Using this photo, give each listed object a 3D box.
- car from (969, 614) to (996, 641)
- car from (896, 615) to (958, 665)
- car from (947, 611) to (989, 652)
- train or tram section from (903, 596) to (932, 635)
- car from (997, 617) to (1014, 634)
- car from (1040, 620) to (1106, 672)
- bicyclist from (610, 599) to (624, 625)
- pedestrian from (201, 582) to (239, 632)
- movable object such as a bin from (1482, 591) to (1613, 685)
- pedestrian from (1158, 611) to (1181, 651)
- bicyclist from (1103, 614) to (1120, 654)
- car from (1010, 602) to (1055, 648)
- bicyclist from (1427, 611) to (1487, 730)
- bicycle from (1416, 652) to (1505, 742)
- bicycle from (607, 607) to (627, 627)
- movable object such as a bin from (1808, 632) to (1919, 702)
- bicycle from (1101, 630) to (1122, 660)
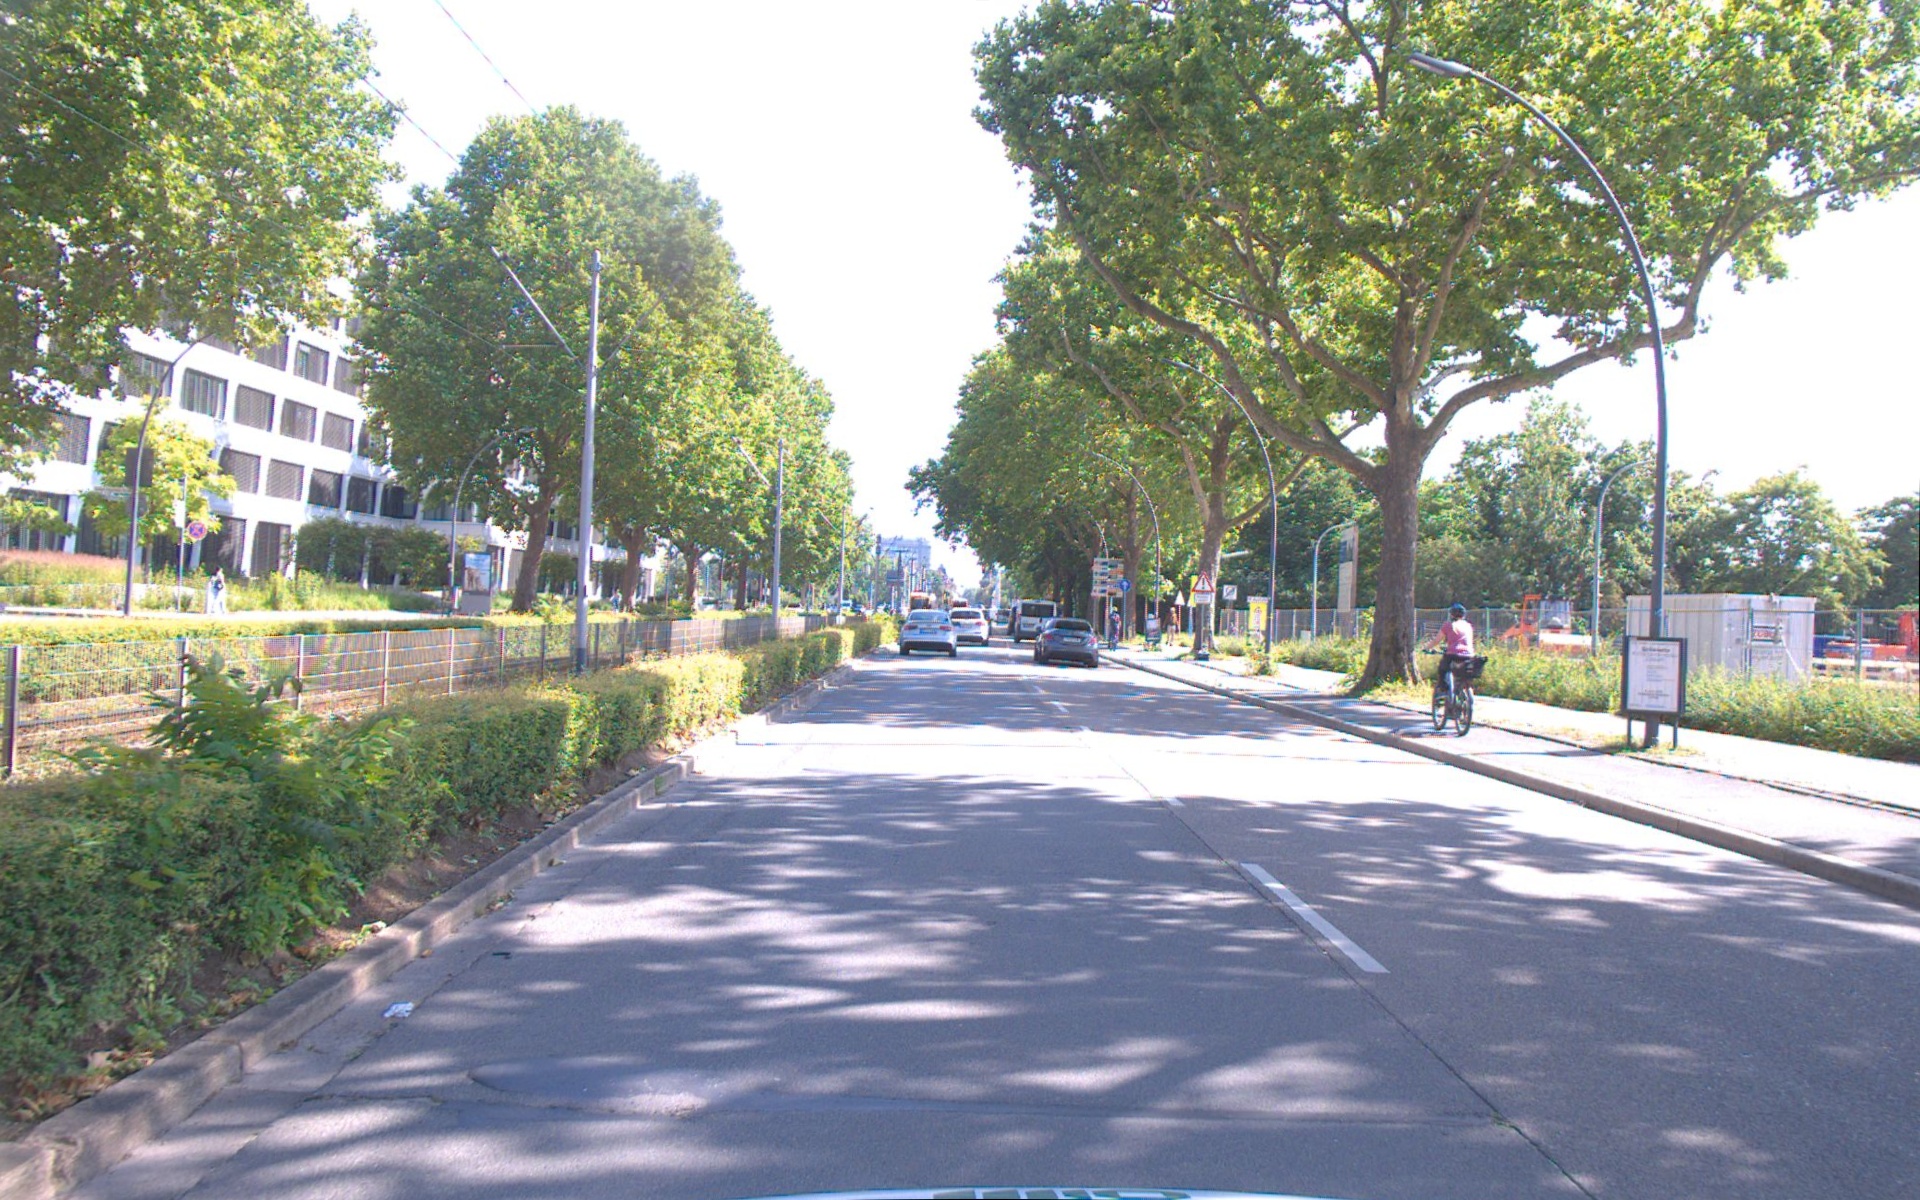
[{"bbox_3d":[1.489,1.791,107.738,1.694,1.633,3.885,3,-1,1],"label":"car"},{"bbox_3d":[-1.000,1.232,51.858,1.748,1.445,3.885,3,-1,1],"label":"car"},{"bbox_3d":[0.375,1.356,71.162,1.694,1.633,3.885,3,-1,1],"label":"car"},{"bbox_3d":[-4.609,1.733,180.660,2.563,4.085,7.749,3,-1,1],"label":"train or tram section"},{"bbox_3d":[5.636,3.161,206.860,2.029,2.034,4.058,3,-1,1],"label":"car"},{"bbox_3d":[3.432,1.389,50.758,1.746,1.445,4.000,3,-1,1],"label":"car"},{"bbox_3d":[-20.487,0.711,98.844,0.641,1.561,0.641,3,-1,1],"label":"bicyclist"},{"bbox_3d":[-24.738,0.238,55.297,0.705,1.616,1.015,3,-1,1],"label":"pedestrian"},{"bbox_3d":[21.201,1.338,60.041,2.322,3.125,5.982,3,-1,-2],"label":"movable object such as a bin"},{"bbox_3d":[10.411,1.517,82.190,0.919,1.925,1.151,2,-1,1],"label":"pedestrian"},{"bbox_3d":[6.421,1.435,70.000,0.621,1.677,0.979,0,1,0],"label":"bicyclist"},{"bbox_3d":[3.782,1.285,86.736,2.184,2.250,4.162,3,-1,1],"label":"car"},{"bbox_3d":[6.906,0.965,22.989,0.607,1.628,0.732,0,-1,-1],"label":"bicyclist"},{"bbox_3d":[6.889,1.317,22.851,0.638,1.149,1.945,1,-1,0],"label":"bicycle"},{"bbox_3d":[-20.491,1.025,98.839,0.650,1.144,2.031,3,-1,1],"label":"bicycle"},{"bbox_3d":[42.857,3.118,76.905,5.070,3.027,3.294,3,-1,1],"label":"movable object such as a bin"},{"bbox_3d":[6.413,1.885,70.009,0.700,1.168,2.178,0,1,0],"label":"bicycle"}]
